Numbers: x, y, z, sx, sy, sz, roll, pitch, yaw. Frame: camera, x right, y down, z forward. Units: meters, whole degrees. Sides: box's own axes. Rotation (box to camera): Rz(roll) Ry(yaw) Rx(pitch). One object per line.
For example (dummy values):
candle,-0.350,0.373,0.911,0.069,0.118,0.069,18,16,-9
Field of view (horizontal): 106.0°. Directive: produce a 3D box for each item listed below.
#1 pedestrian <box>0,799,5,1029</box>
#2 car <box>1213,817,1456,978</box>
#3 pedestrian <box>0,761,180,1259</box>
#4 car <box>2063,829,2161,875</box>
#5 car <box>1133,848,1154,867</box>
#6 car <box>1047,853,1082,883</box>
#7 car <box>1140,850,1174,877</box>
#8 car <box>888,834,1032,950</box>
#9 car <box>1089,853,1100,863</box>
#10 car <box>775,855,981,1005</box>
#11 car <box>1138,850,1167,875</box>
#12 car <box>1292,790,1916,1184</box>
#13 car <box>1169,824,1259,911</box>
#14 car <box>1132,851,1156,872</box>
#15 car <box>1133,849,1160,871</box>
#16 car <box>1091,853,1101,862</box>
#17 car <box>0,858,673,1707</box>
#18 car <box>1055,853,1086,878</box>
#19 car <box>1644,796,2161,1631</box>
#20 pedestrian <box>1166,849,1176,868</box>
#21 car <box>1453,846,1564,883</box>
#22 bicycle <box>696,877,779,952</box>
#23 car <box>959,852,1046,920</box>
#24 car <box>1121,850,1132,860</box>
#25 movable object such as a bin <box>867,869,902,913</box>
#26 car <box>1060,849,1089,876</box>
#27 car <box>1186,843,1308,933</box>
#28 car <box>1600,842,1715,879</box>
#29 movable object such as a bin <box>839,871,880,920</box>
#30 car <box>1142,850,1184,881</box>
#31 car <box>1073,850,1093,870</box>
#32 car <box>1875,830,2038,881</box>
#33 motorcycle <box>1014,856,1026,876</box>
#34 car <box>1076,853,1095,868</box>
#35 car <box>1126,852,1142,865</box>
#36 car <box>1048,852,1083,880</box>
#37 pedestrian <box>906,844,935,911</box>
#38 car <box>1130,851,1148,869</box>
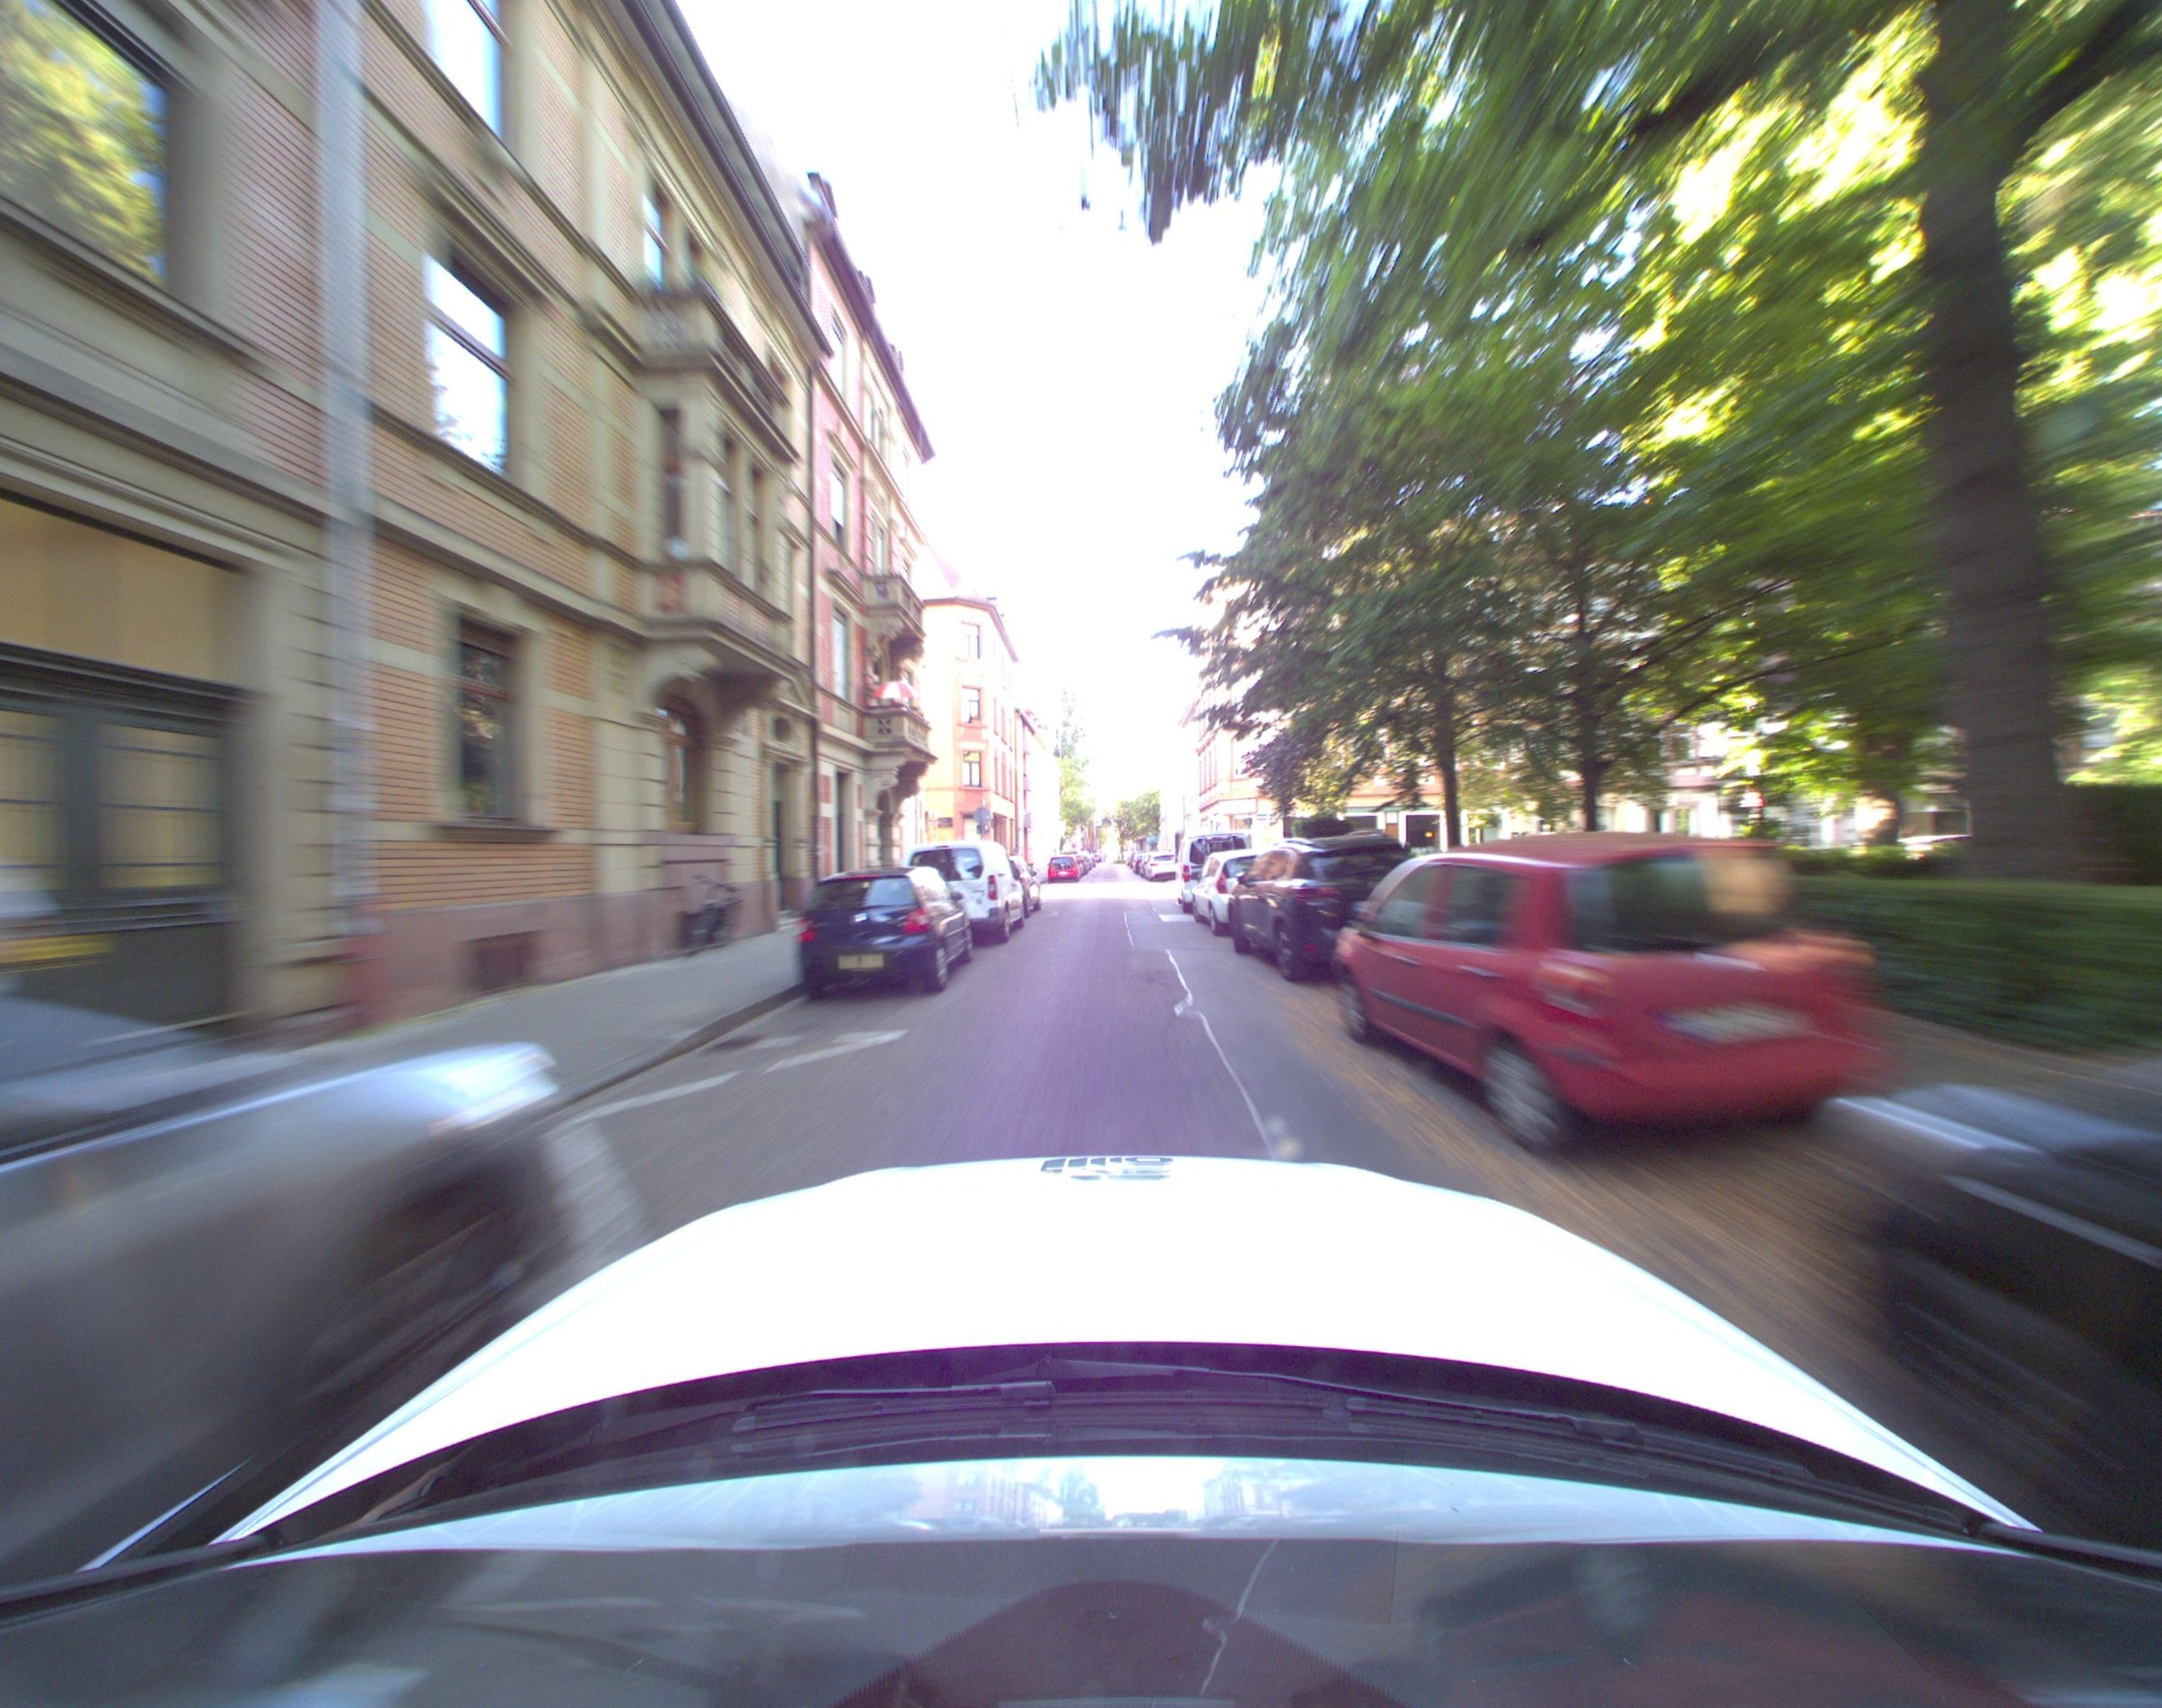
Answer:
pedestrian,-5.012,0.647,3.188,0.698,1.772,0.649,-1,-1,2
car,3.143,0.507,11.111,1.735,1.603,4.261,-6,-1,-2
pedestrian,-4.373,0.593,3.216,0.576,1.882,0.905,-1,-1,2
car,35.821,-0.055,27.270,3.510,1.473,1.637,-1,-2,8
car,5.811,0.336,75.938,1.670,1.627,4.252,-5,0,1
car,-0.868,0.719,44.800,1.622,1.481,3.602,-3,0,1
car,4.588,0.529,49.850,1.737,1.506,4.022,-3,0,1
car,-2.124,0.615,15.617,1.824,1.811,4.574,-3,0,2
car,2.201,0.590,133.254,1.670,1.487,4.096,-3,0,1
car,-2.433,0.820,10.774,1.688,1.514,3.971,-3,0,-1
car,4.746,0.523,54.692,1.592,1.506,4.186,-3,0,1
car,2.902,0.621,5.648,1.615,1.624,3.860,-6,-1,-2
car,3.454,0.311,21.974,1.906,1.998,4.797,-3,0,4
car,4.944,0.584,64.309,1.670,1.506,3.939,-3,0,1
car,4.717,0.413,59.136,1.670,1.506,3.939,-3,0,1
car,2.582,0.597,138.400,1.670,1.487,4.096,-3,0,1
car,-2.538,0.830,1.036,1.760,1.514,4.194,-3,0,1
car,-0.683,0.749,54.421,1.649,1.521,3.948,-3,0,4
car,2.737,0.616,0.813,1.614,1.486,3.775,-6,-1,0
pedestrian,7.640,0.377,69.255,0.683,1.660,0.718,-2,0,2
car,17.984,0.456,34.407,3.832,1.473,1.637,-1,-2,8
bicycle,-5.270,0.899,12.600,0.569,1.041,1.547,1,0,2
car,-1.918,0.749,21.038,1.686,1.481,3.974,-3,0,2
car,7.470,0.103,134.763,1.670,1.487,3.639,-3,0,1
movable object such as a bin,-4.893,0.906,20.334,0.635,1.041,0.856,1,0,2
car,-0.439,0.587,59.794,1.736,1.811,4.677,-3,0,4
car,3.214,0.603,16.473,1.713,1.571,3.828,-1,0,0
car,23.810,0.301,33.763,3.510,1.473,1.637,-1,-2,8
movable object such as a bin,-4.907,0.903,18.088,0.635,1.041,0.856,1,0,2
car,4.397,0.583,44.076,1.738,1.506,4.356,-3,0,-1
car,0.215,0.597,79.078,1.759,1.785,4.040,-3,0,1
car,29.862,0.091,27.872,3.510,1.649,1.637,-1,-2,8
motorcycle,-3.812,0.754,51.083,0.531,1.206,1.910,-1,0,3
car,0.475,0.693,87.957,1.662,1.469,3.826,-3,0,5
car,6.170,0.518,95.474,1.670,1.487,4.096,-3,0,1
car,-0.880,0.712,49.600,1.688,1.521,4.100,-3,0,4
pedestrian,-3.986,0.588,20.272,0.546,1.644,0.717,-1,-2,2
car,5.766,0.638,81.277,1.669,1.681,4.098,-3,-1,3
